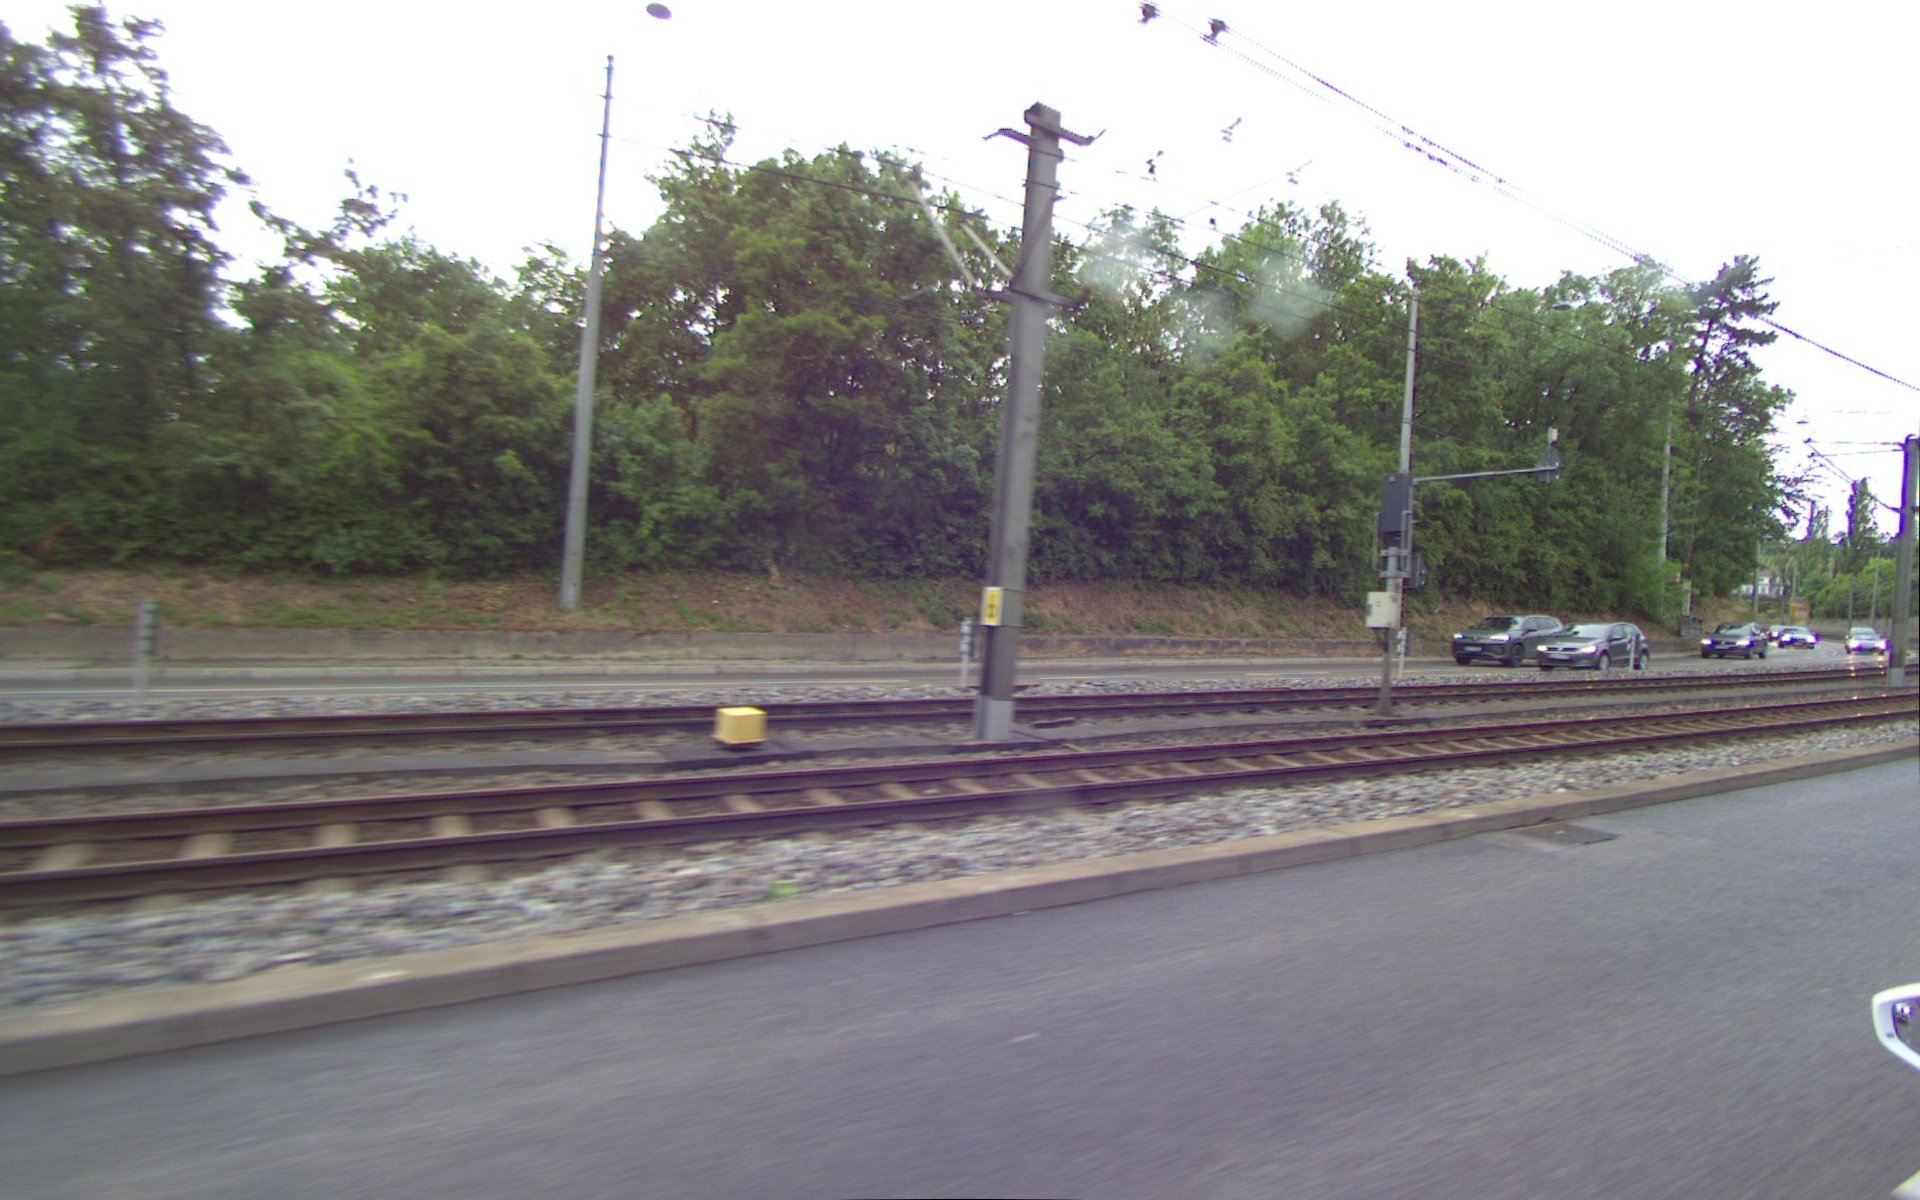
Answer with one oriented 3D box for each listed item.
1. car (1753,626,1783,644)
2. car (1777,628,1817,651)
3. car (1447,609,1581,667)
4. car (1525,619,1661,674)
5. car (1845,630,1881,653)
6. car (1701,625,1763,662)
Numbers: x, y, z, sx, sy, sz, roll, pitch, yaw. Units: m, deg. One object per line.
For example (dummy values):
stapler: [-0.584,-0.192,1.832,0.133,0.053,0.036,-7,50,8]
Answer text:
car: [70.866,3.041,88.115,1.721,1.536,4.562,0,-1,34]
car: [58.433,2.720,70.183,1.793,1.481,4.644,0,-1,35]
car: [17.737,1.198,32.088,4.690,1.692,1.773,1,0,-34]
car: [18.059,1.316,28.632,3.987,1.434,1.696,2,0,-32]
car: [52.935,2.407,58.922,1.526,1.274,3.939,-1,-2,41]
car: [35.636,1.989,46.325,4.381,1.629,1.690,2,-2,-44]
